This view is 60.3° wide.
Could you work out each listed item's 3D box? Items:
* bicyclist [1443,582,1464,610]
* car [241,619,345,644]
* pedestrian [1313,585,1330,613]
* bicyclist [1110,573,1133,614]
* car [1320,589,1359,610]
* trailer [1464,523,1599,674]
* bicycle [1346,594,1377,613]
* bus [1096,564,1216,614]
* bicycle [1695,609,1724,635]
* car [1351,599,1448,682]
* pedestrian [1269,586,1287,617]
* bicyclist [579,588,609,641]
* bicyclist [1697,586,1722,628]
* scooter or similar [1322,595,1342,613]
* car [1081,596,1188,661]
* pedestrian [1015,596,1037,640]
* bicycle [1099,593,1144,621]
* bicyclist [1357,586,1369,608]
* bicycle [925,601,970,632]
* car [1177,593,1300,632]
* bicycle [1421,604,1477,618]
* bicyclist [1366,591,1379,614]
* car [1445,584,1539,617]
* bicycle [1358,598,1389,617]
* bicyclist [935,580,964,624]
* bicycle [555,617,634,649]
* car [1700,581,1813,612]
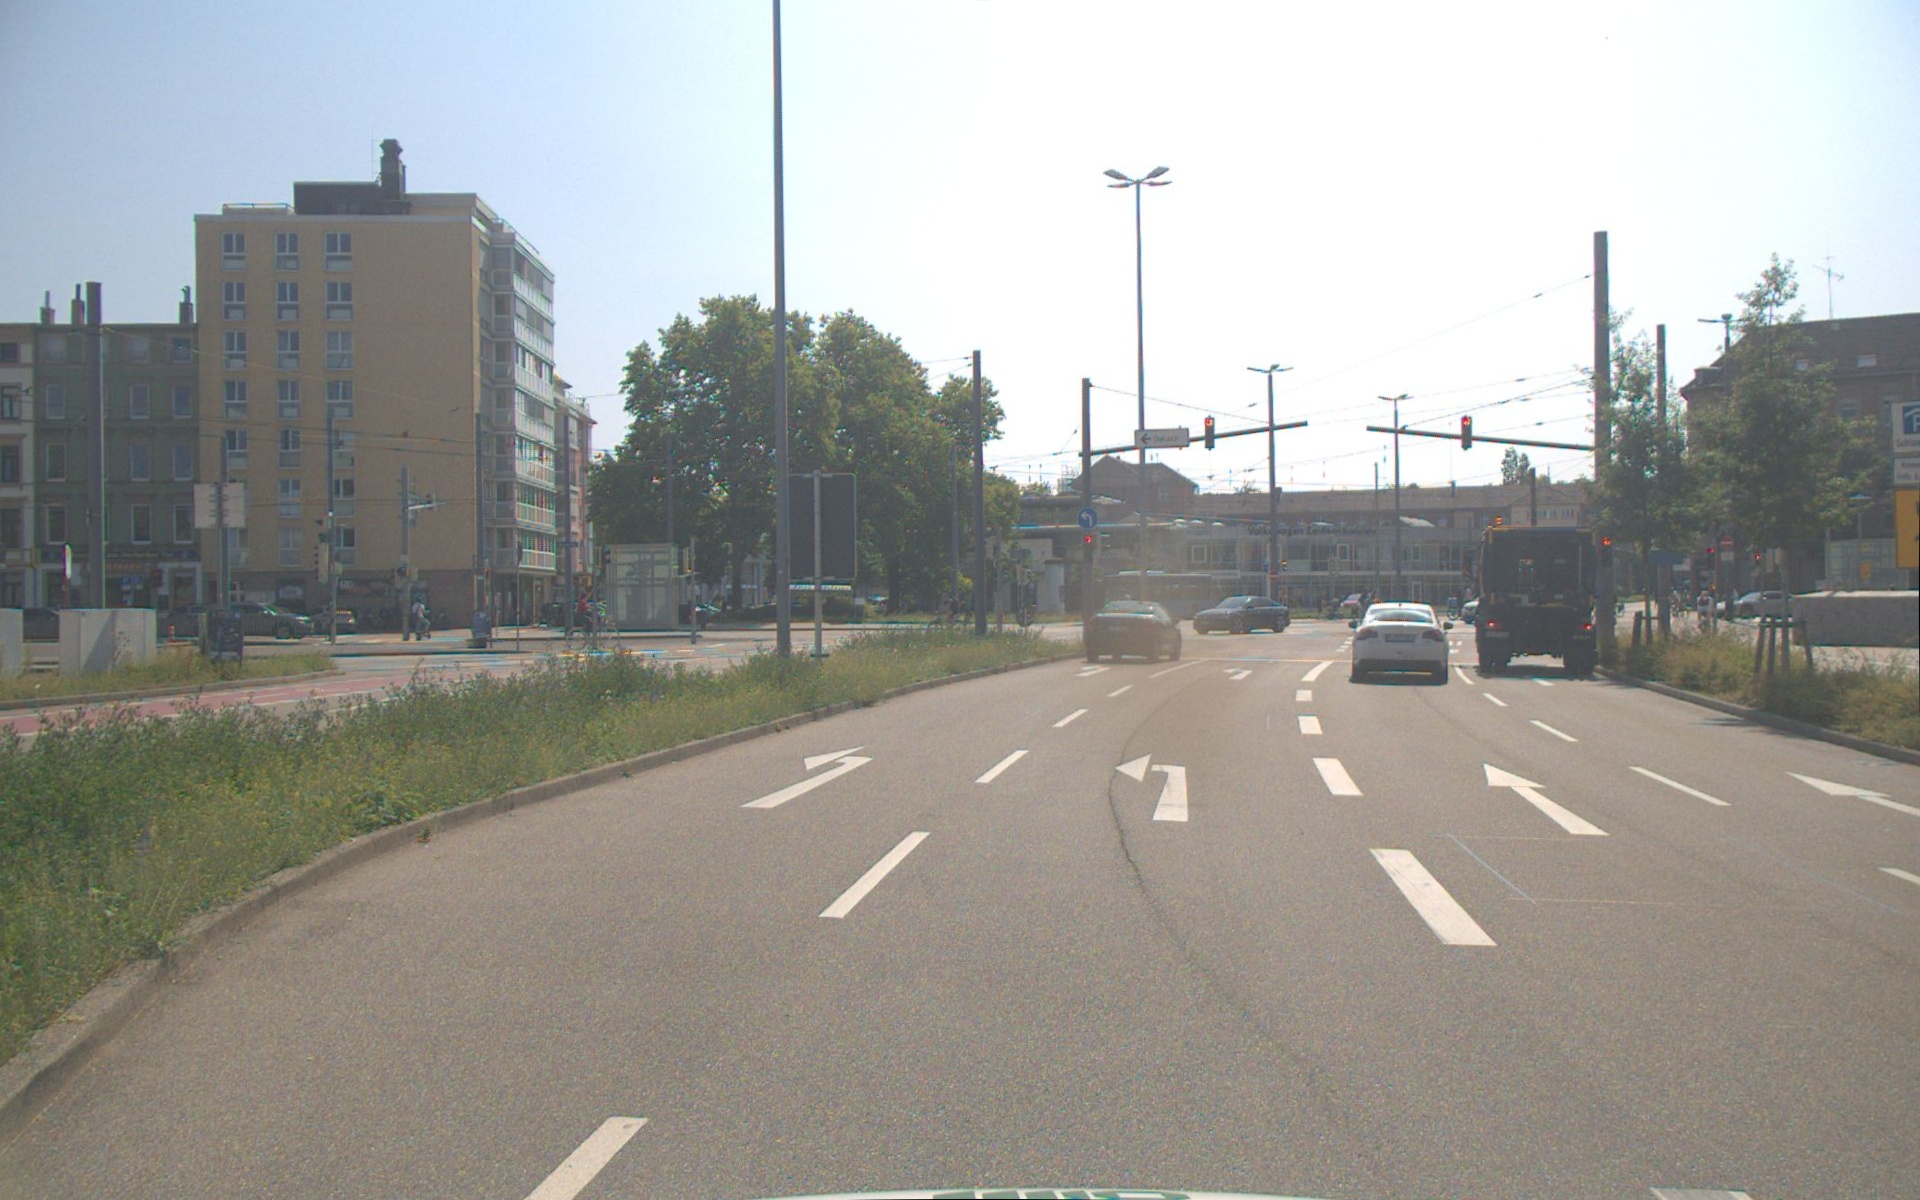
[{"bbox_3d":[27.531,-0.237,92.274,0.886,1.527,0.864,-1,0,-4],"label":"bicyclist"},{"bbox_3d":[-28.660,1.342,71.178,3.809,1.004,1.713,-1,0,-8],"label":"car"},{"bbox_3d":[20.655,-0.038,94.565,0.628,1.588,0.740,-1,0,-29],"label":"pedestrian"},{"bbox_3d":[6.698,-0.281,68.492,0.614,1.679,0.682,0,0,-41],"label":"bicyclist"},{"bbox_3d":[27.154,-0.055,118.241,1.695,1.444,3.834,0,0,29],"label":"car"},{"bbox_3d":[12.685,-0.067,37.094,2.411,3.060,6.330,1,1,15],"label":"trailer"},{"bbox_3d":[21.902,0.201,90.258,1.561,1.002,0.506,0,0,31],"label":"bicycle"},{"bbox_3d":[12.540,-0.703,104.435,2.997,2.982,11.828,0,0,31],"label":"bus"},{"bbox_3d":[24.166,0.715,53.360,0.660,0.790,2.128,-1,0,20],"label":"bicycle"},{"bbox_3d":[8.661,0.737,32.576,1.720,1.480,4.429,0,1,15],"label":"car"},{"bbox_3d":[18.141,0.091,94.271,0.768,1.782,0.807,-1,0,30],"label":"pedestrian"},{"bbox_3d":[-11.565,0.460,52.294,0.822,1.671,0.606,0,-1,-3],"label":"bicyclist"},{"bbox_3d":[24.117,0.227,53.253,0.660,1.343,0.684,-1,0,20],"label":"bicyclist"},{"bbox_3d":[21.363,0.217,94.938,0.826,0.991,0.785,-1,0,-28],"label":"scooter or similar"},{"bbox_3d":[4.197,0.632,39.205,1.721,1.429,3.982,0,1,18],"label":"car"},{"bbox_3d":[1.994,0.535,49.996,0.584,1.290,0.505,-1,2,-4],"label":"pedestrian"},{"bbox_3d":[6.678,0.285,68.457,2.027,1.156,0.688,-1,0,-43],"label":"bicycle"},{"bbox_3d":[21.971,-0.162,90.223,0.494,1.209,0.506,-1,0,31],"label":"bicyclist"},{"bbox_3d":[-0.510,0.631,64.680,0.957,1.199,2.817,-1,0,-18],"label":"bicycle"},{"bbox_3d":[11.040,0.496,65.624,4.491,1.463,1.985,-1,0,-25],"label":"car"},{"bbox_3d":[27.282,0.594,92.247,2.877,0.740,0.864,-1,0,-4],"label":"bicycle"},{"bbox_3d":[22.876,0.129,91.661,0.582,1.269,0.507,-1,0,-3],"label":"bicyclist"},{"bbox_3d":[24.838,0.010,77.233,3.993,1.450,1.766,-1,0,-20],"label":"car"},{"bbox_3d":[22.921,0.416,91.661,1.559,1.002,0.507,-1,0,-3],"label":"bicycle"},{"bbox_3d":[-0.394,0.059,64.301,0.957,1.683,0.659,-1,0,-19],"label":"bicyclist"},{"bbox_3d":[-11.553,1.044,52.279,2.361,0.970,0.603,-1,0,-3],"label":"bicycle"},{"bbox_3d":[38.230,-0.178,79.480,4.477,1.424,1.947,-1,0,1],"label":"car"}]
